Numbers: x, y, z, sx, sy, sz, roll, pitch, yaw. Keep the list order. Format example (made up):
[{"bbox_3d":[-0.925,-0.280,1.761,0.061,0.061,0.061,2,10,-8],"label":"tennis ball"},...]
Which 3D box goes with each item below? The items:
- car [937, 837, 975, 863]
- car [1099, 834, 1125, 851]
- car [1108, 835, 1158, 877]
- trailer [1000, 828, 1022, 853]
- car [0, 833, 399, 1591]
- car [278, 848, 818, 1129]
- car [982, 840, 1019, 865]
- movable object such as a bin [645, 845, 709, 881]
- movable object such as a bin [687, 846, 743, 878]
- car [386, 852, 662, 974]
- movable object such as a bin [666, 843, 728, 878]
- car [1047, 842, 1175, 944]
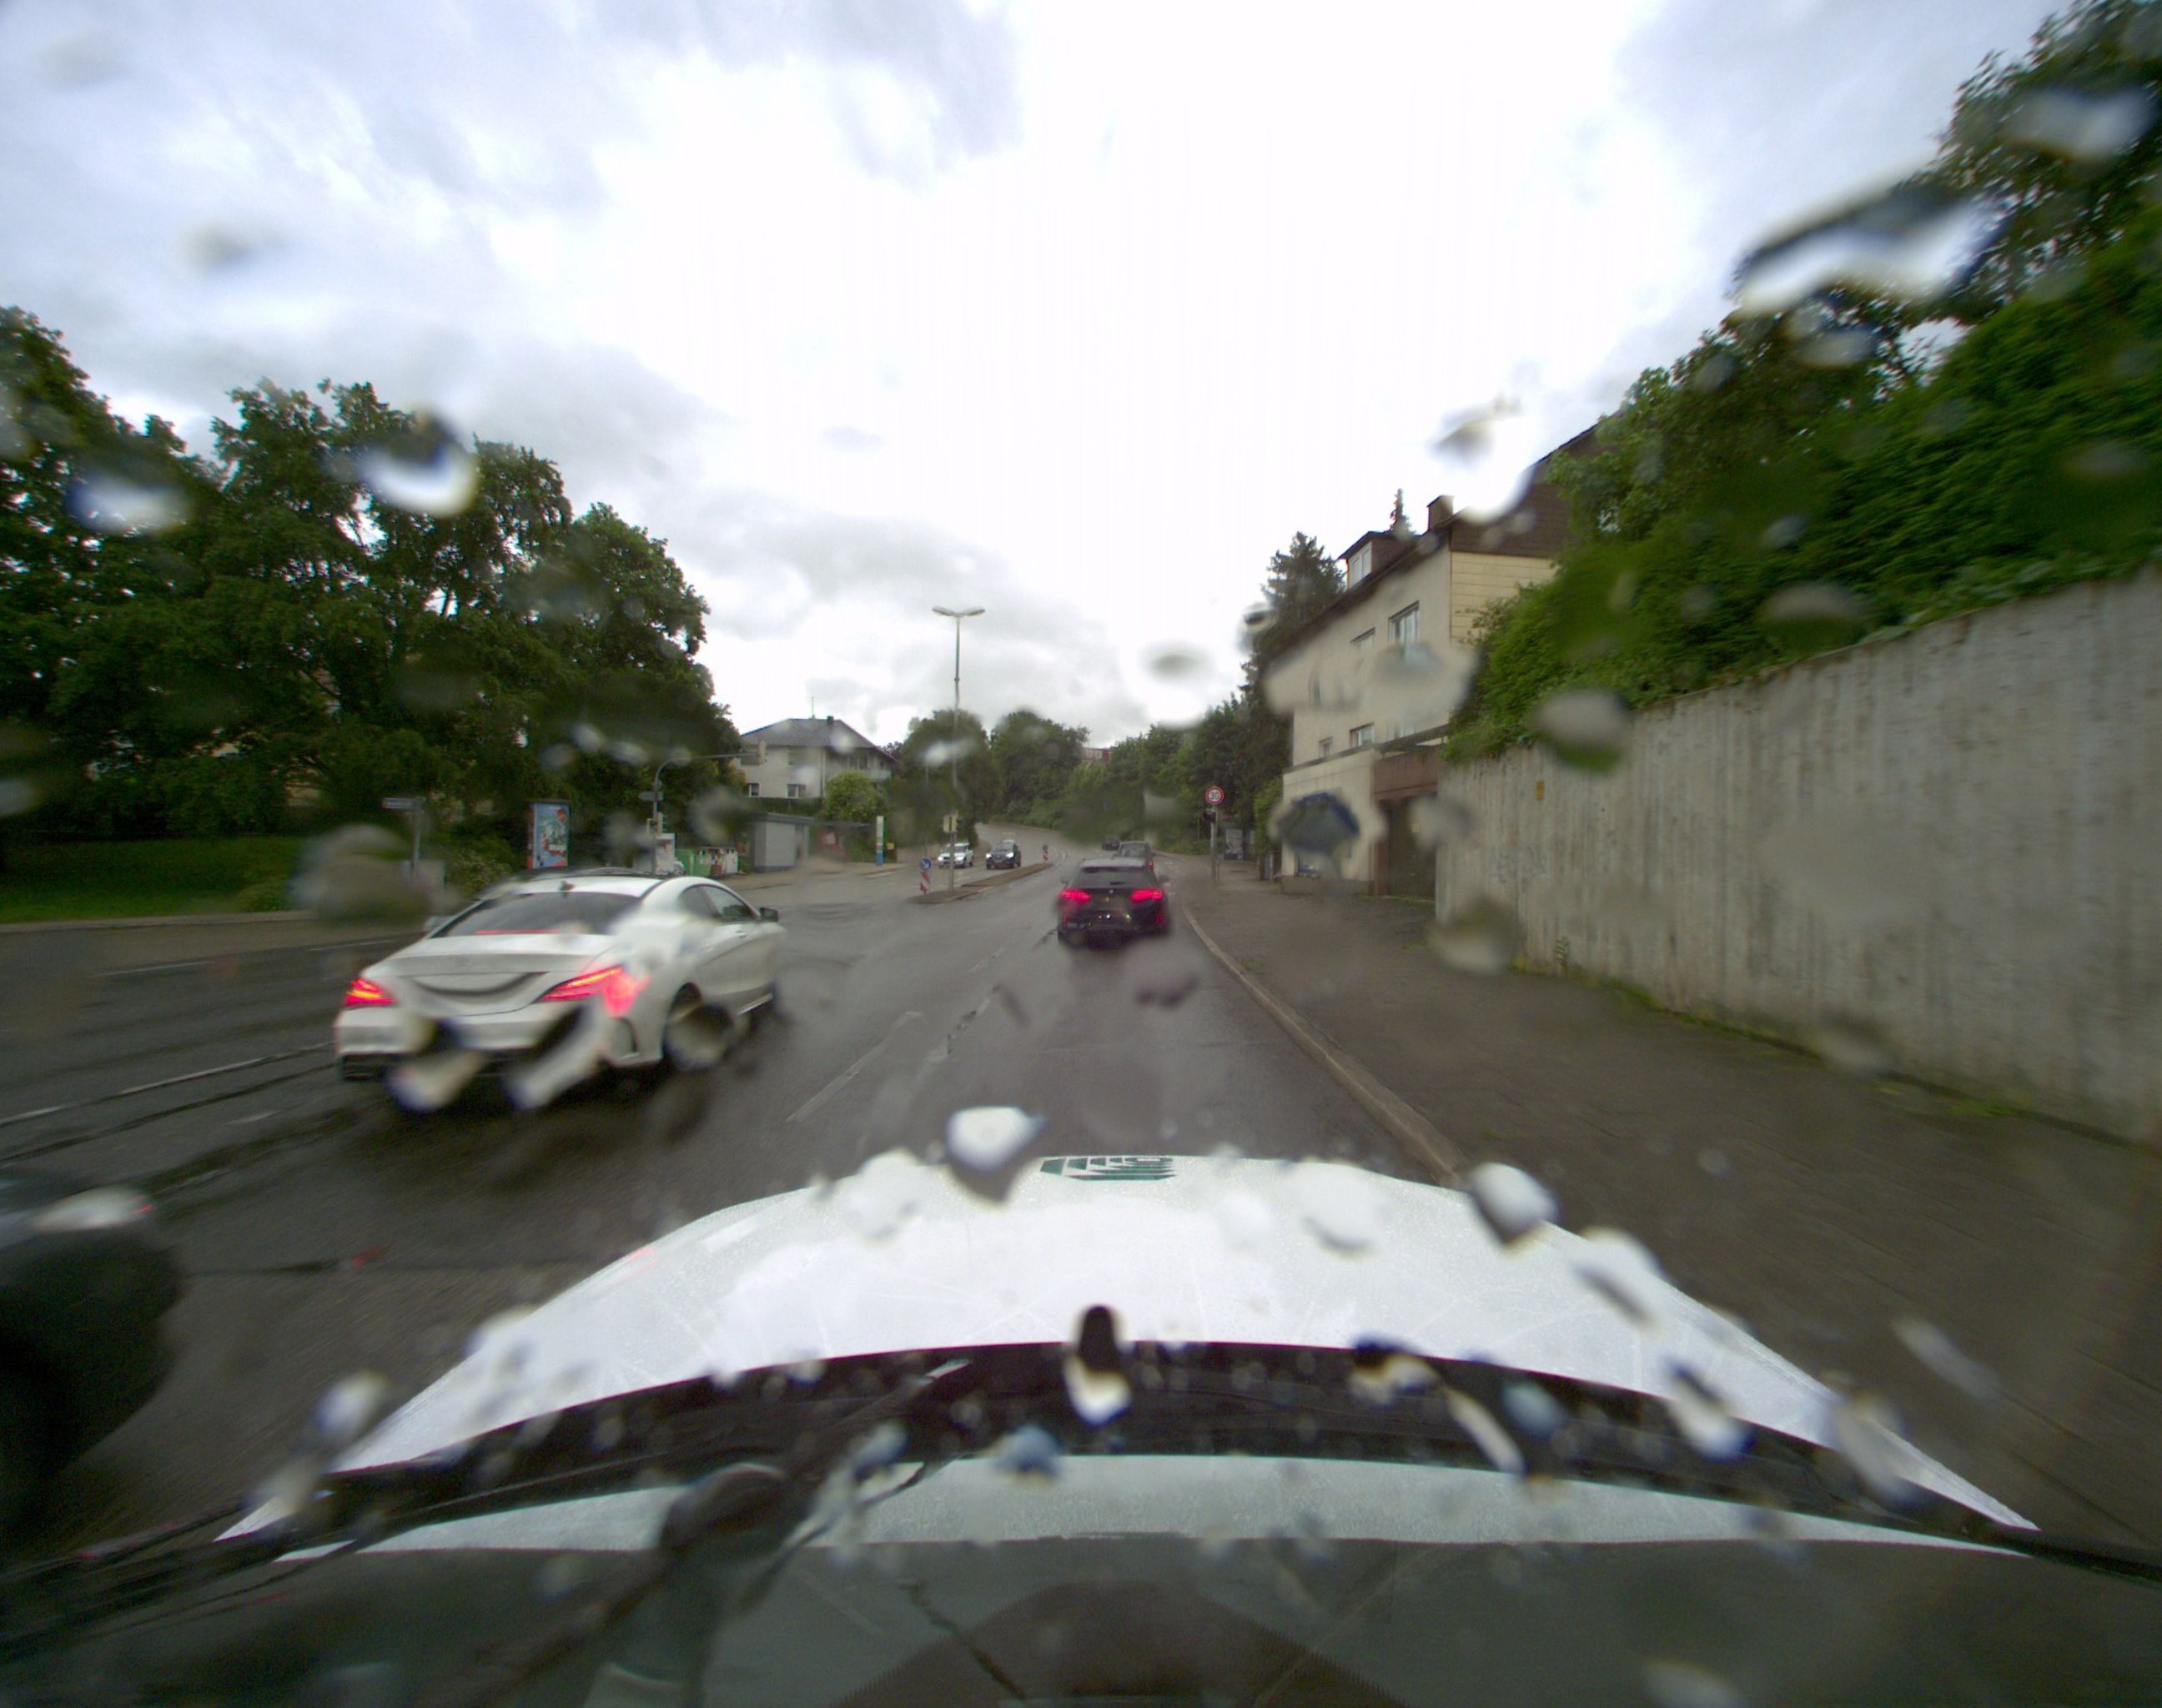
[{"bbox_3d":[-8.509,-0.242,55.790,1.817,1.657,4.467,-1,0,1],"label":"car"},{"bbox_3d":[3.110,-1.177,82.106,1.851,1.662,3.987,0,1,-10],"label":"car"},{"bbox_3d":[2.336,0.050,37.707,1.987,1.748,3.999,-1,2,-1],"label":"car"},{"bbox_3d":[-6.430,-1.211,75.357,1.892,2.179,4.031,-1,0,-3],"label":"trailer"},{"bbox_3d":[-3.075,0.698,0.488,1.828,1.487,4.060,-1,-1,1],"label":"car"},{"bbox_3d":[-3.723,0.770,6.919,1.906,1.528,4.641,0,-1,-6],"label":"car"},{"bbox_3d":[-5.244,-0.106,53.621,1.834,1.552,4.386,-1,0,2],"label":"car"},{"bbox_3d":[-18.387,0.410,37.117,2.047,1.568,1.584,-1,1,6],"label":"movable object such as a bin"},{"bbox_3d":[-18.046,0.385,40.177,2.047,1.514,1.346,-1,1,6],"label":"movable object such as a bin"},{"bbox_3d":[-8.440,0.814,12.869,1.992,1.574,3.989,-1,-1,-8],"label":"car"},{"bbox_3d":[-18.225,0.306,38.708,2.047,1.568,1.584,-1,1,6],"label":"movable object such as a bin"},{"bbox_3d":[0.479,0.685,15.021,1.987,1.586,4.662,0,-2,0],"label":"car"}]
